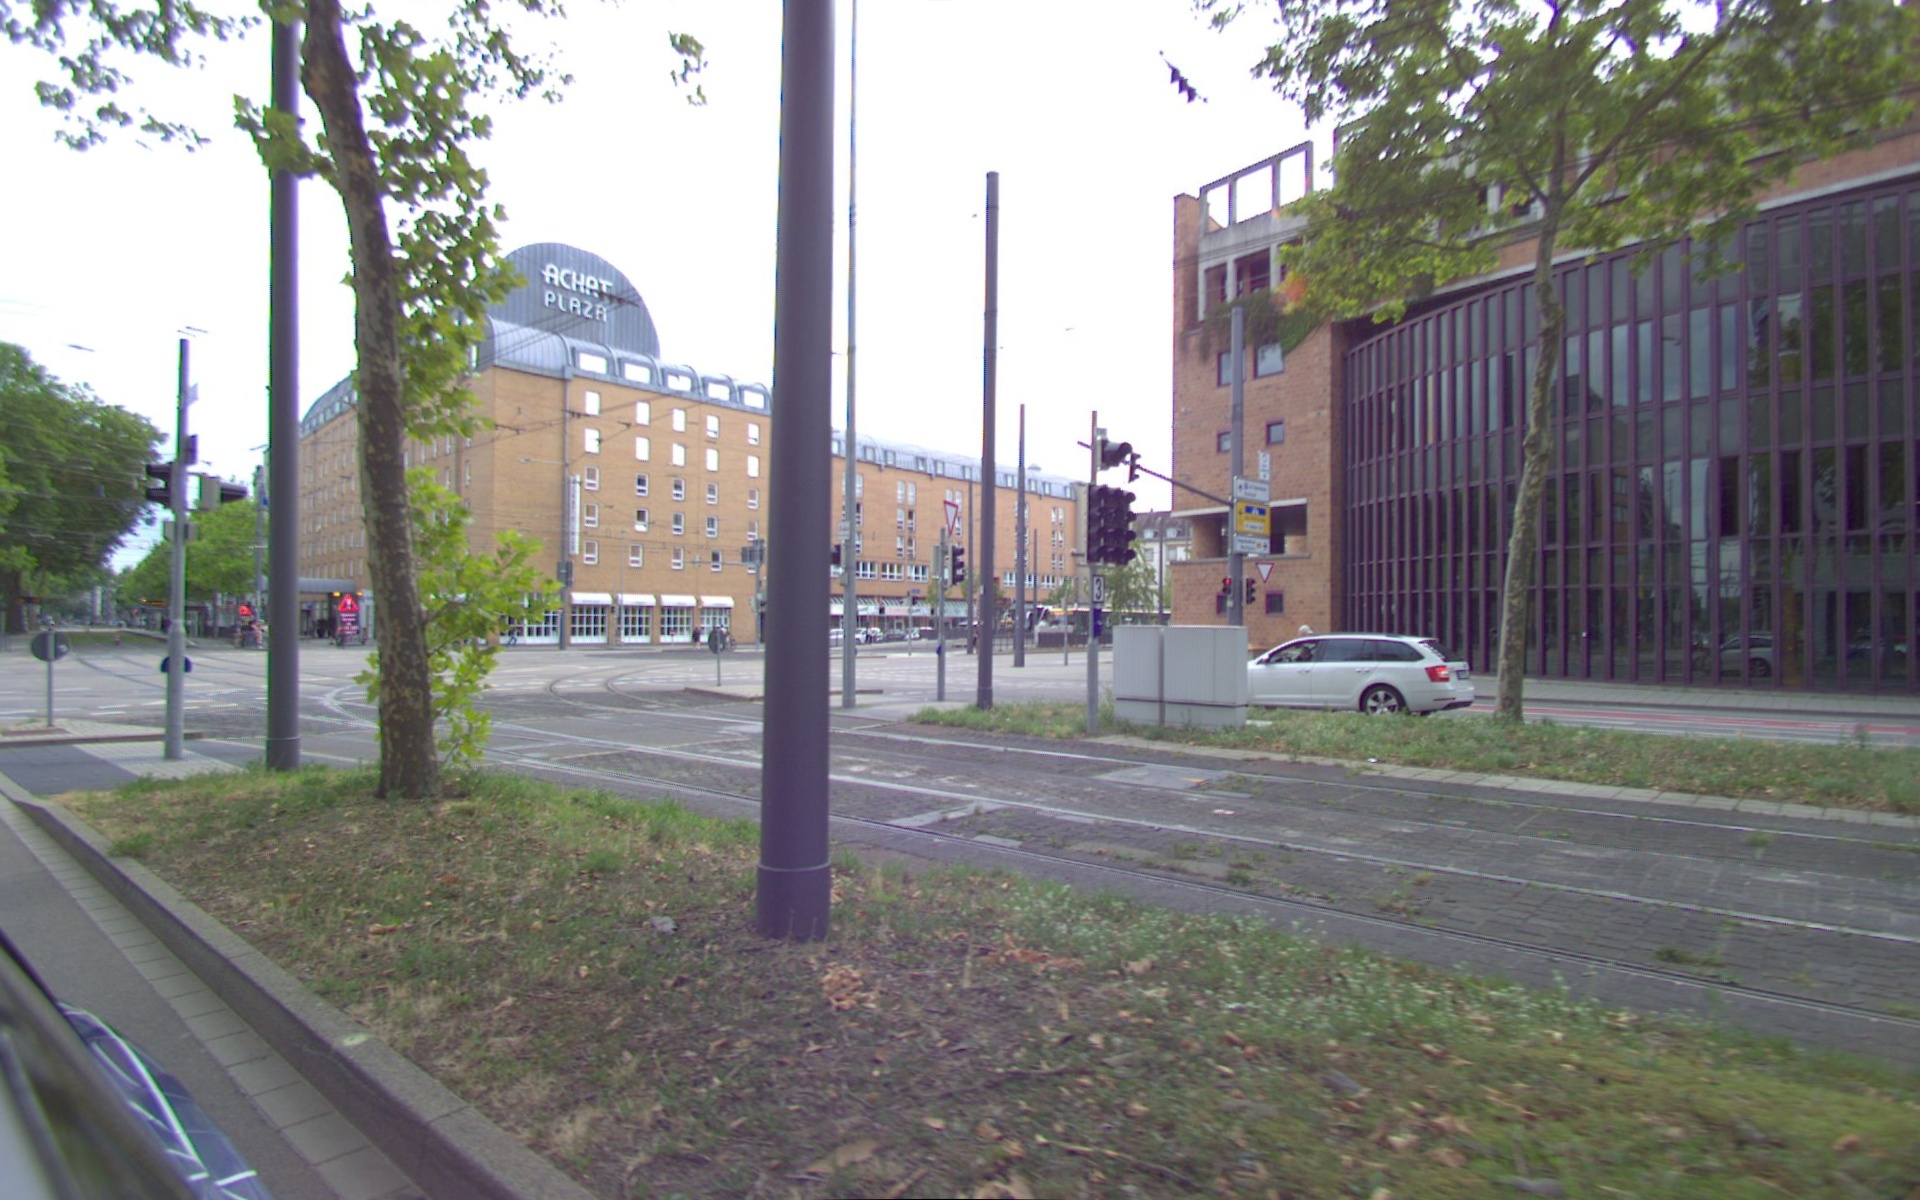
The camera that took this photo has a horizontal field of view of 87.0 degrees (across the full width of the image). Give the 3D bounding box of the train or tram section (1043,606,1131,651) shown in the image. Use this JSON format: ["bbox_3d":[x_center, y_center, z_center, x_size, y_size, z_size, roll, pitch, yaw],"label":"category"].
[{"bbox_3d":[10.561,2.399,83.410,2.574,3.477,9.481,-1,-3,39],"label":"train or tram section"}]

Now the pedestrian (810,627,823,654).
[{"bbox_3d":[-9.393,2.655,66.263,0.576,1.745,0.625,0,-2,31],"label":"pedestrian"}]

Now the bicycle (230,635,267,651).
[{"bbox_3d":[-41.416,2.499,58.924,0.499,0.895,1.687,-1,-2,44],"label":"bicycle"}]

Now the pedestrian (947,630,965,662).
[{"bbox_3d":[-0.222,2.493,55.037,0.750,1.745,0.571,0,-2,40],"label":"pedestrian"}]

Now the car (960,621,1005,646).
[{"bbox_3d":[2.121,3.150,93.861,1.700,2.247,4.773,0,-2,38],"label":"car"}]

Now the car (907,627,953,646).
[{"bbox_3d":[-2.418,2.961,82.342,1.700,1.453,3.948,-1,-3,38],"label":"car"}]

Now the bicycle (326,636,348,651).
[{"bbox_3d":[-42.272,2.954,68.672,1.890,0.943,0.651,0,-2,37],"label":"bicycle"}]

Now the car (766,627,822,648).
[{"bbox_3d":[-12.347,2.800,75.511,1.798,1.490,3.948,-1,-2,38],"label":"car"}]

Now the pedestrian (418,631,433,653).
[{"bbox_3d":[-36.786,2.866,69.649,0.642,1.518,0.533,1,-2,7],"label":"pedestrian"}]

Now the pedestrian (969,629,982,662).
[{"bbox_3d":[0.830,2.374,53.382,0.460,1.722,0.475,-1,-2,44],"label":"pedestrian"}]

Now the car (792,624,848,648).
[{"bbox_3d":[-10.244,2.617,74.213,1.798,1.697,3.948,0,-2,39],"label":"car"}]

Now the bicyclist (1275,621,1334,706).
[{"bbox_3d":[6.794,1.228,19.950,0.901,1.622,0.715,-1,-3,41],"label":"bicyclist"}]

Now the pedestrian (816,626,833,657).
[{"bbox_3d":[-7.701,2.352,57.467,0.750,1.745,0.571,0,-2,40],"label":"pedestrian"}]

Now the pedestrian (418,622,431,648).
[{"bbox_3d":[-34.825,2.276,65.855,0.534,1.719,0.556,0,-2,42],"label":"pedestrian"}]

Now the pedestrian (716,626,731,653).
[{"bbox_3d":[-15.812,2.651,67.713,0.749,1.745,0.571,0,-2,35],"label":"pedestrian"}]

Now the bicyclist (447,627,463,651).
[{"bbox_3d":[-32.897,2.544,65.896,0.851,1.512,0.638,2,-2,-31],"label":"bicyclist"}]

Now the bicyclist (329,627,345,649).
[{"bbox_3d":[-42.236,2.584,68.656,0.816,1.512,0.643,0,-2,37],"label":"bicyclist"}]

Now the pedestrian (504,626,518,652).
[{"bbox_3d":[-29.821,2.577,67.173,0.739,1.745,0.580,2,-2,-37],"label":"pedestrian"}]

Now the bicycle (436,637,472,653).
[{"bbox_3d":[-32.919,2.931,65.879,2.025,1.016,0.642,2,-2,-31],"label":"bicycle"}]

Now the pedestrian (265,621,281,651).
[{"bbox_3d":[-39.982,2.092,58.927,0.577,1.719,0.557,0,-2,33],"label":"pedestrian"}]

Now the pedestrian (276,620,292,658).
[{"bbox_3d":[-38.834,2.249,58.146,0.533,2.146,0.557,0,-2,33],"label":"pedestrian"}]

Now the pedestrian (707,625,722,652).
[{"bbox_3d":[-16.257,2.569,67.115,0.749,1.745,0.571,0,-2,35],"label":"pedestrian"}]

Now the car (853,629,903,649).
[{"bbox_3d":[-6.388,3.048,79.146,1.700,1.453,3.948,0,-2,38],"label":"car"}]

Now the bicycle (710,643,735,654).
[{"bbox_3d":[-17.540,3.576,74.649,0.639,0.787,1.773,-1,-2,39],"label":"bicycle"}]

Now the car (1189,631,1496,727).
[{"bbox_3d":[6.478,1.265,17.474,4.655,1.432,1.765,-1,-2,40],"label":"car"}]

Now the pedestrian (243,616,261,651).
[{"bbox_3d":[-41.115,1.948,58.773,0.534,1.967,0.684,0,-2,39],"label":"pedestrian"}]

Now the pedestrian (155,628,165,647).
[{"bbox_3d":[-75.602,3.542,95.606,0.639,1.719,0.625,2,-3,-43],"label":"pedestrian"}]

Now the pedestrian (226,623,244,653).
[{"bbox_3d":[-43.025,2.254,60.078,0.533,1.719,0.677,0,-2,33],"label":"pedestrian"}]

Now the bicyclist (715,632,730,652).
[{"bbox_3d":[-17.531,3.098,74.675,0.636,1.513,0.854,-1,-2,39],"label":"bicyclist"}]

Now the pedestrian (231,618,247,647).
[{"bbox_3d":[-43.860,1.975,61.557,0.533,1.719,0.557,0,-2,33],"label":"pedestrian"}]

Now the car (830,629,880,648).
[{"bbox_3d":[-8.359,3.062,81.107,1.700,1.453,3.948,0,-2,38],"label":"car"}]

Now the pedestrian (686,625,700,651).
[{"bbox_3d":[-18.341,2.624,69.552,0.749,1.745,0.571,-1,-2,35],"label":"pedestrian"}]

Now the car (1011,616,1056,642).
[{"bbox_3d":[6.903,2.700,94.184,1.700,2.337,5.018,-1,-3,38],"label":"car"}]
